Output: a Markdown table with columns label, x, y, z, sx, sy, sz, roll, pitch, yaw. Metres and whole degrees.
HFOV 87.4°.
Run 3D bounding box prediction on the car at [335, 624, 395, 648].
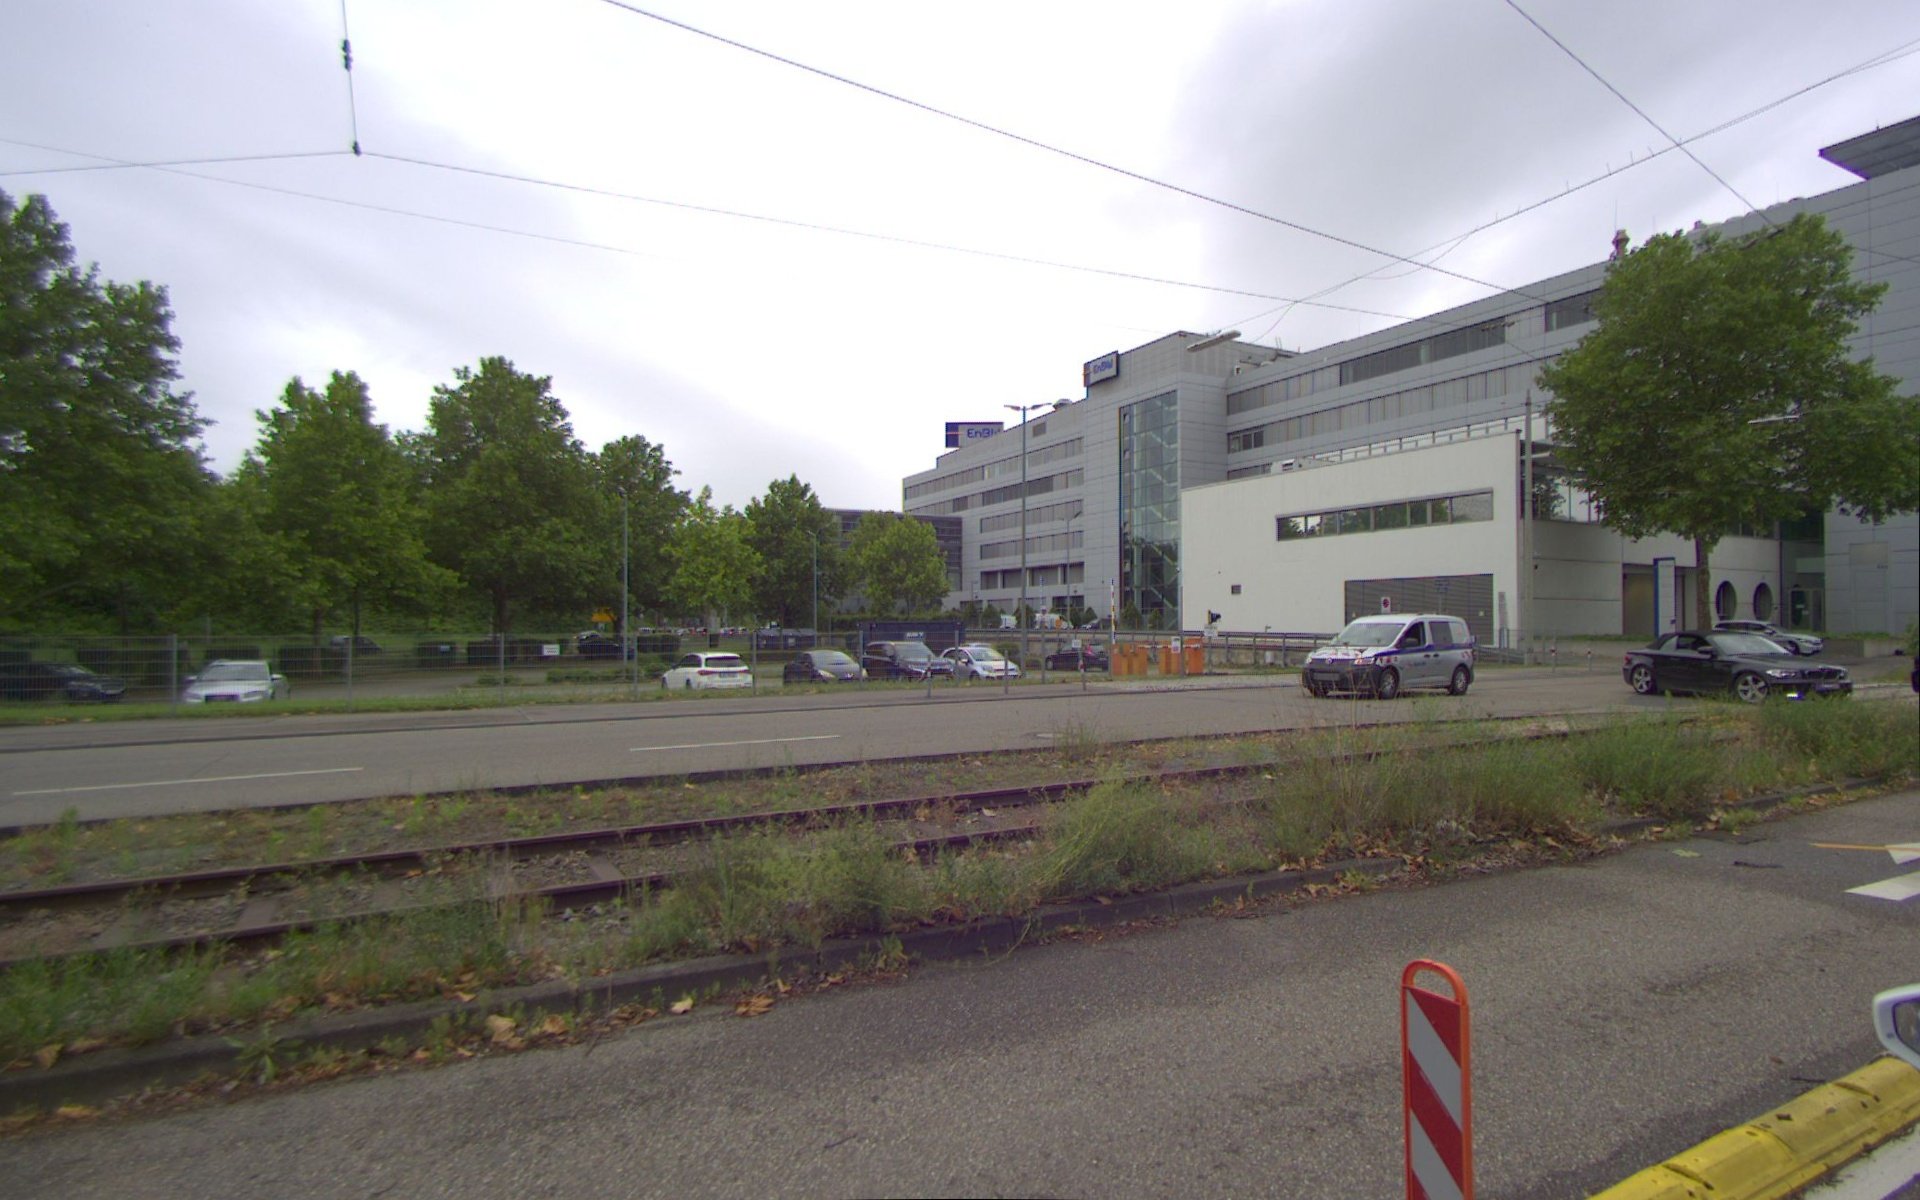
| label | x | y | z | sx | sy | sz | roll | pitch | yaw |
| --- | --- | --- | --- | --- | --- | --- | --- | --- | --- |
| car | -41.043 | 2.458 | 69.415 | 1.738 | 1.548 | 3.671 | 0 | 0 | 6 |

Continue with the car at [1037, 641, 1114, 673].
| label | x | y | z | sx | sy | sz | roll | pitch | yaw |
| --- | --- | --- | --- | --- | --- | --- | --- | --- | --- |
| car | 5.829 | 2.874 | 50.954 | 1.891 | 1.505 | 3.968 | 1 | -2 | -31 |

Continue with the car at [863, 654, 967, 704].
| label | x | y | z | sx | sy | sz | roll | pitch | yaw |
| --- | --- | --- | --- | --- | --- | --- | --- | --- | --- |
| car | -1.598 | 2.613 | 33.958 | 1.891 | 1.505 | 3.968 | 1 | -2 | -31 |

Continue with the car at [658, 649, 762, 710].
| label | x | y | z | sx | sy | sz | roll | pitch | yaw |
| --- | --- | --- | --- | --- | --- | --- | --- | --- | --- |
| car | -7.751 | 2.375 | 30.857 | 1.891 | 1.655 | 4.505 | 1 | -2 | -31 |

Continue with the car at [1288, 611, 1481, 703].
| label | x | y | z | sx | sy | sz | roll | pitch | yaw |
| --- | --- | --- | --- | --- | --- | --- | --- | --- | --- |
| car | 9.253 | 1.187 | 21.780 | 4.382 | 1.806 | 1.808 | 1 | -2 | -35 |

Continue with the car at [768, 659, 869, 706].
| label | x | y | z | sx | sy | sz | roll | pitch | yaw |
| --- | --- | --- | --- | --- | --- | --- | --- | --- | --- |
| car | -4.690 | 2.643 | 32.845 | 1.891 | 1.332 | 3.968 | 1 | -2 | -31 |

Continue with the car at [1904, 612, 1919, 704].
| label | x | y | z | sx | sy | sz | roll | pitch | yaw |
| --- | --- | --- | --- | --- | --- | --- | --- | --- | --- |
| car | 18.058 | 1.022 | 16.117 | 1.803 | 1.576 | 3.866 | 1 | 0 | -28 |

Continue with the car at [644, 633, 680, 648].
| label | x | y | z | sx | sy | sz | roll | pitch | yaw |
| --- | --- | --- | --- | --- | --- | --- | --- | --- | --- |
| car | -34.202 | 4.619 | 115.506 | 1.928 | 1.548 | 5.013 | 0 | 0 | 9 |

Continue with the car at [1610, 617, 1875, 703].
| label | x | y | z | sx | sy | sz | roll | pitch | yaw |
| --- | --- | --- | --- | --- | --- | --- | --- | --- | --- |
| car | 15.290 | 1.181 | 19.960 | 1.791 | 1.494 | 4.128 | 1 | -3 | -6 |

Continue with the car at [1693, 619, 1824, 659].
| label | x | y | z | sx | sy | sz | roll | pitch | yaw |
| --- | --- | --- | --- | --- | --- | --- | --- | --- | --- |
| car | 37.674 | 1.797 | 47.495 | 1.804 | 1.692 | 4.488 | 1 | 0 | -31 |

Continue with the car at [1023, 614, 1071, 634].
| label | x | y | z | sx | sy | sz | roll | pitch | yaw |
| --- | --- | --- | --- | --- | --- | --- | --- | --- | --- |
| car | 9.050 | 2.509 | 104.423 | 4.592 | 2.040 | 1.986 | 1 | -2 | -28 |

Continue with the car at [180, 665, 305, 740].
| label | x | y | z | sx | sy | sz | roll | pitch | yaw |
| --- | --- | --- | --- | --- | --- | --- | --- | --- | --- |
| car | -17.917 | 2.491 | 25.293 | 1.888 | 1.552 | 4.197 | 1 | -2 | -26 |

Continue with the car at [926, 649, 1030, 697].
| label | x | y | z | sx | sy | sz | roll | pitch | yaw |
| --- | --- | --- | --- | --- | --- | --- | --- | --- | --- |
| car | 0.577 | 2.530 | 35.503 | 1.891 | 1.505 | 3.968 | 1 | -2 | -31 |

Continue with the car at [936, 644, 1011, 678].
| label | x | y | z | sx | sy | sz | roll | pitch | yaw |
| --- | --- | --- | --- | --- | --- | --- | --- | --- | --- |
| car | 0.626 | 2.929 | 48.890 | 1.891 | 1.505 | 3.968 | 1 | -2 | -31 |
